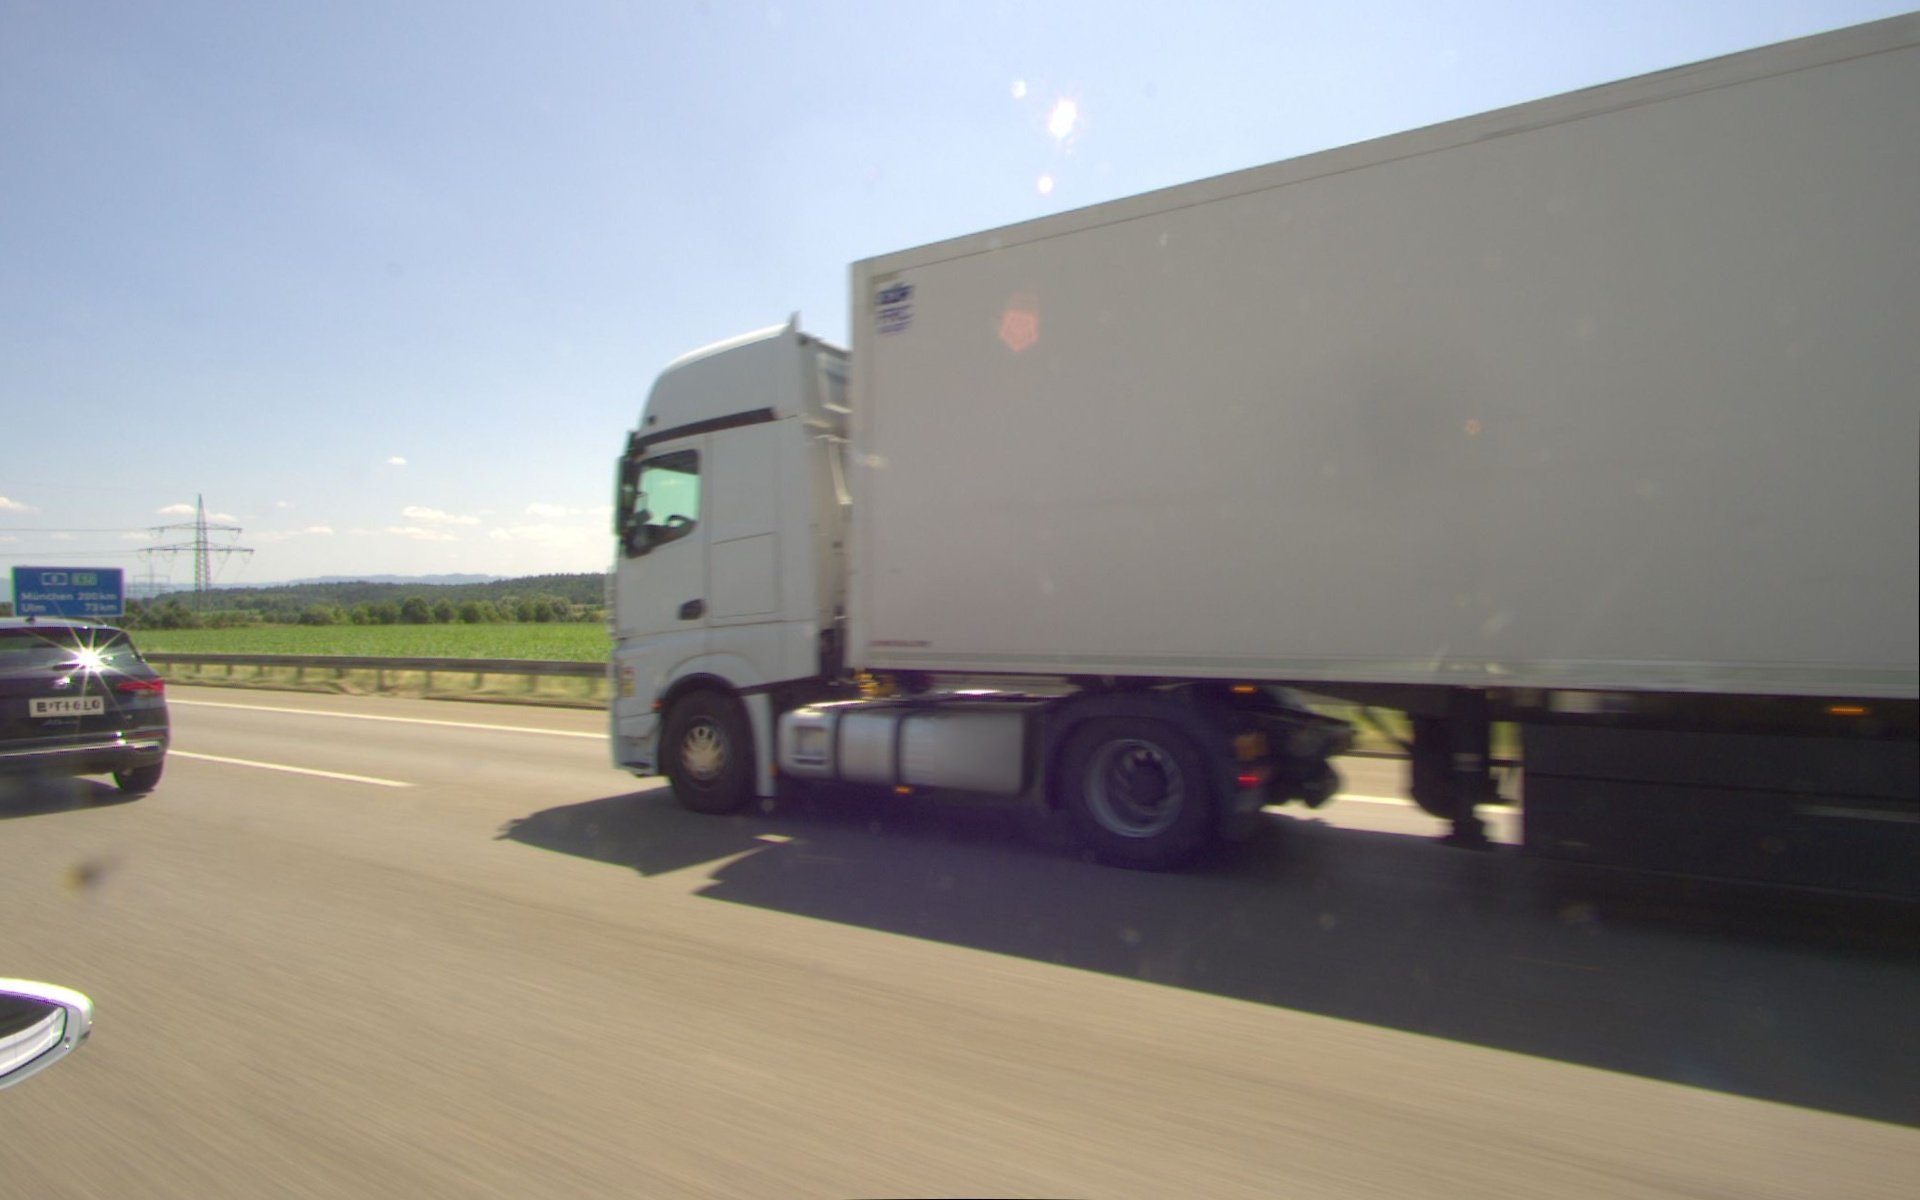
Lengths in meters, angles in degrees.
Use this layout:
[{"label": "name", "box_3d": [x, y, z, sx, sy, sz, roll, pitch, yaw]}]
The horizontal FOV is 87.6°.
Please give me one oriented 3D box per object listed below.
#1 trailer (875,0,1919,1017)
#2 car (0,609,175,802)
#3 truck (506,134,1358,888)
[{"label": "trailer", "box_3d": [5.705, -0.417, 4.678, 13.104, 4.273, 2.863, -1, -2, 32]}, {"label": "car", "box_3d": [-9.292, 0.908, 9.448, 3.769, 1.582, 1.794, -1, -2, 32]}, {"label": "truck", "box_3d": [-0.470, -0.392, 8.498, 6.779, 4.143, 2.859, -1, -2, 31]}]
